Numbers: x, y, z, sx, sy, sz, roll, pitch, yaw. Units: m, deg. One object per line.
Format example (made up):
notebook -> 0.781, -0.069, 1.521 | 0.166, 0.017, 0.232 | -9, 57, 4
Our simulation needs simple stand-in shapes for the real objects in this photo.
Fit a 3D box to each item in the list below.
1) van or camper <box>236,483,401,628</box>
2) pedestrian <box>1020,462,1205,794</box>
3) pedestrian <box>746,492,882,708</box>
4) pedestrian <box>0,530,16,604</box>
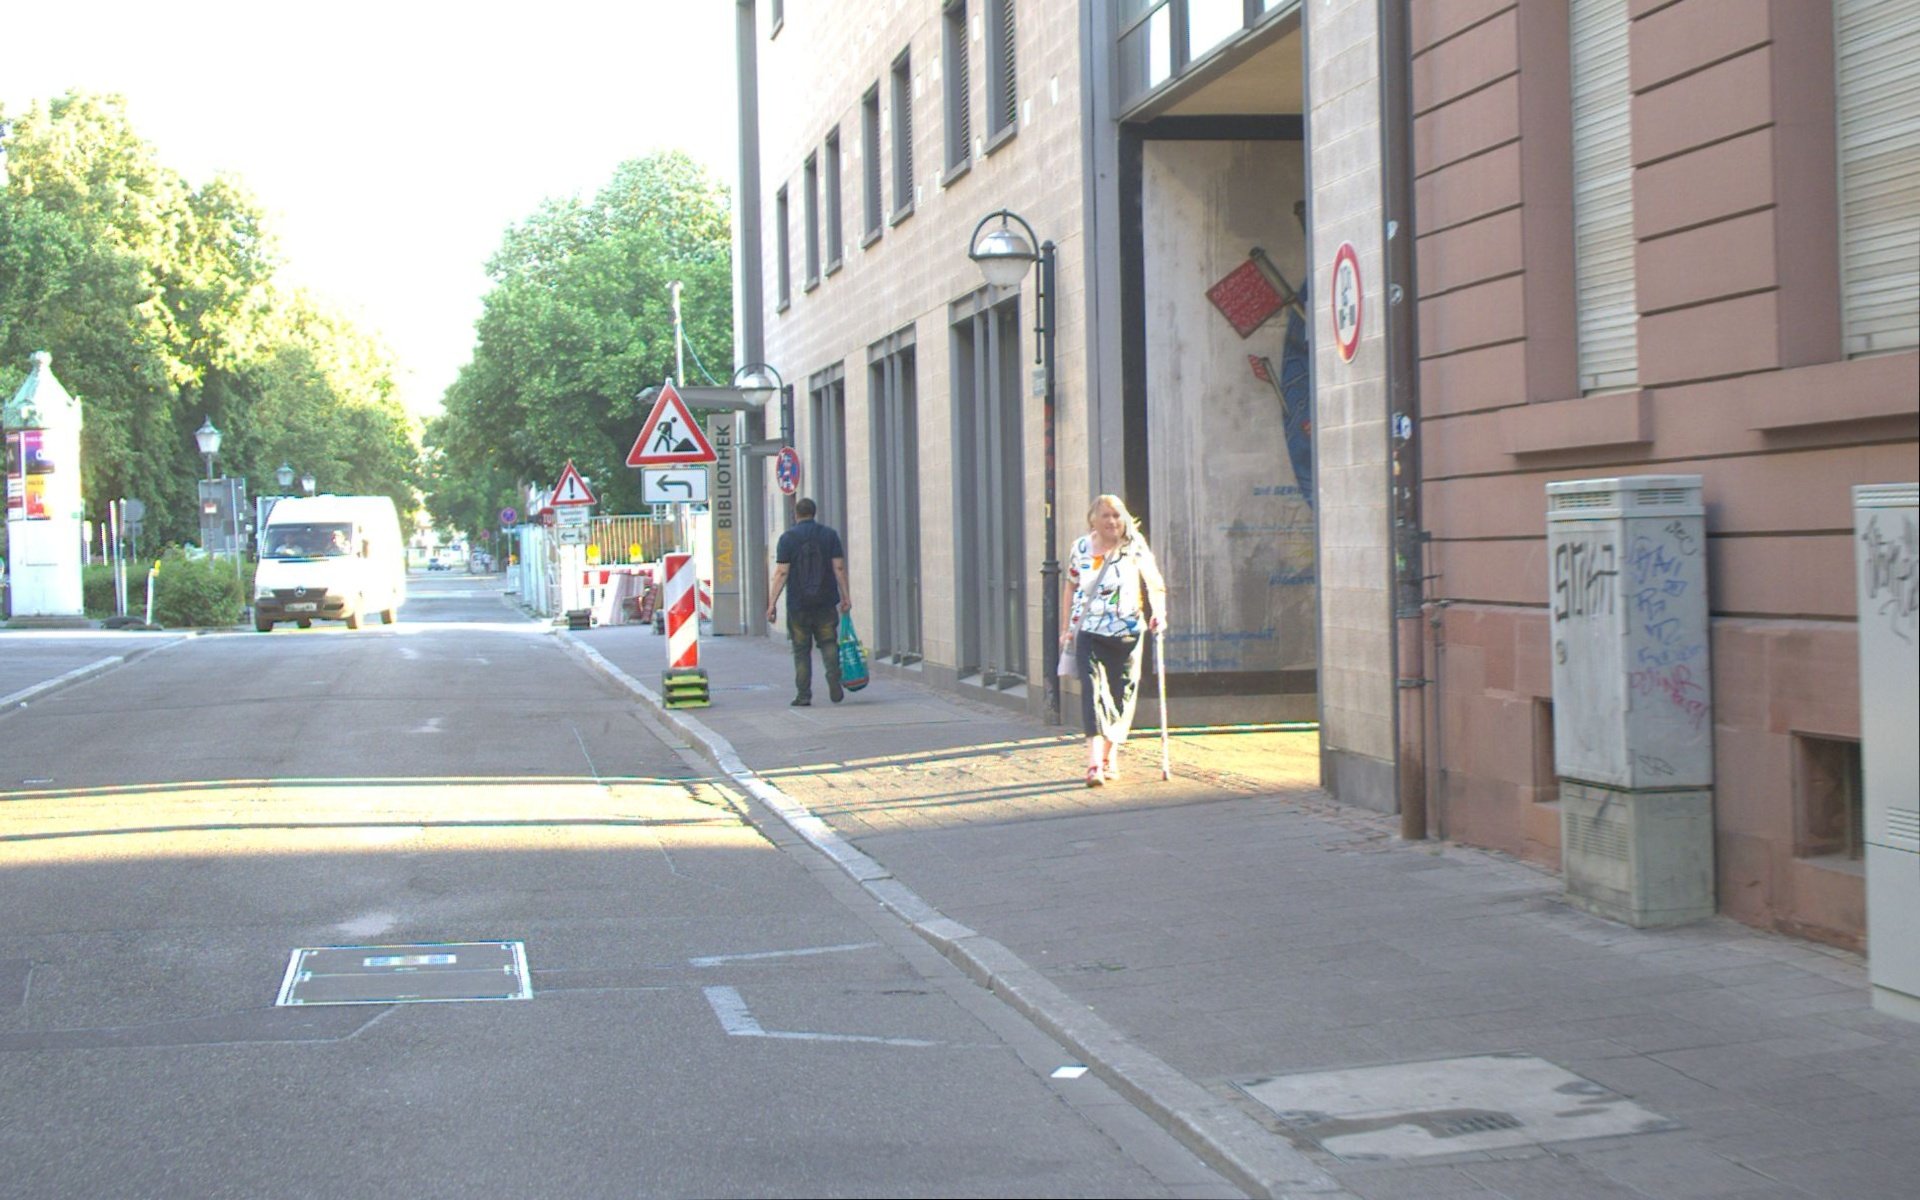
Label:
van or camper -> -12.094, -0.863, 65.228 | 2.219, 2.576, 6.373 | -1, 1, -3
pedestrian -> 0.859, 0.151, 19.607 | 0.845, 1.797, 0.897 | -4, 1, -4
pedestrian -> -1.267, -0.004, 29.656 | 1.000, 1.797, 0.882 | -2, 0, -9
pedestrian -> -23.451, -0.803, 83.624 | 0.849, 1.801, 0.664 | -1, 1, -21
